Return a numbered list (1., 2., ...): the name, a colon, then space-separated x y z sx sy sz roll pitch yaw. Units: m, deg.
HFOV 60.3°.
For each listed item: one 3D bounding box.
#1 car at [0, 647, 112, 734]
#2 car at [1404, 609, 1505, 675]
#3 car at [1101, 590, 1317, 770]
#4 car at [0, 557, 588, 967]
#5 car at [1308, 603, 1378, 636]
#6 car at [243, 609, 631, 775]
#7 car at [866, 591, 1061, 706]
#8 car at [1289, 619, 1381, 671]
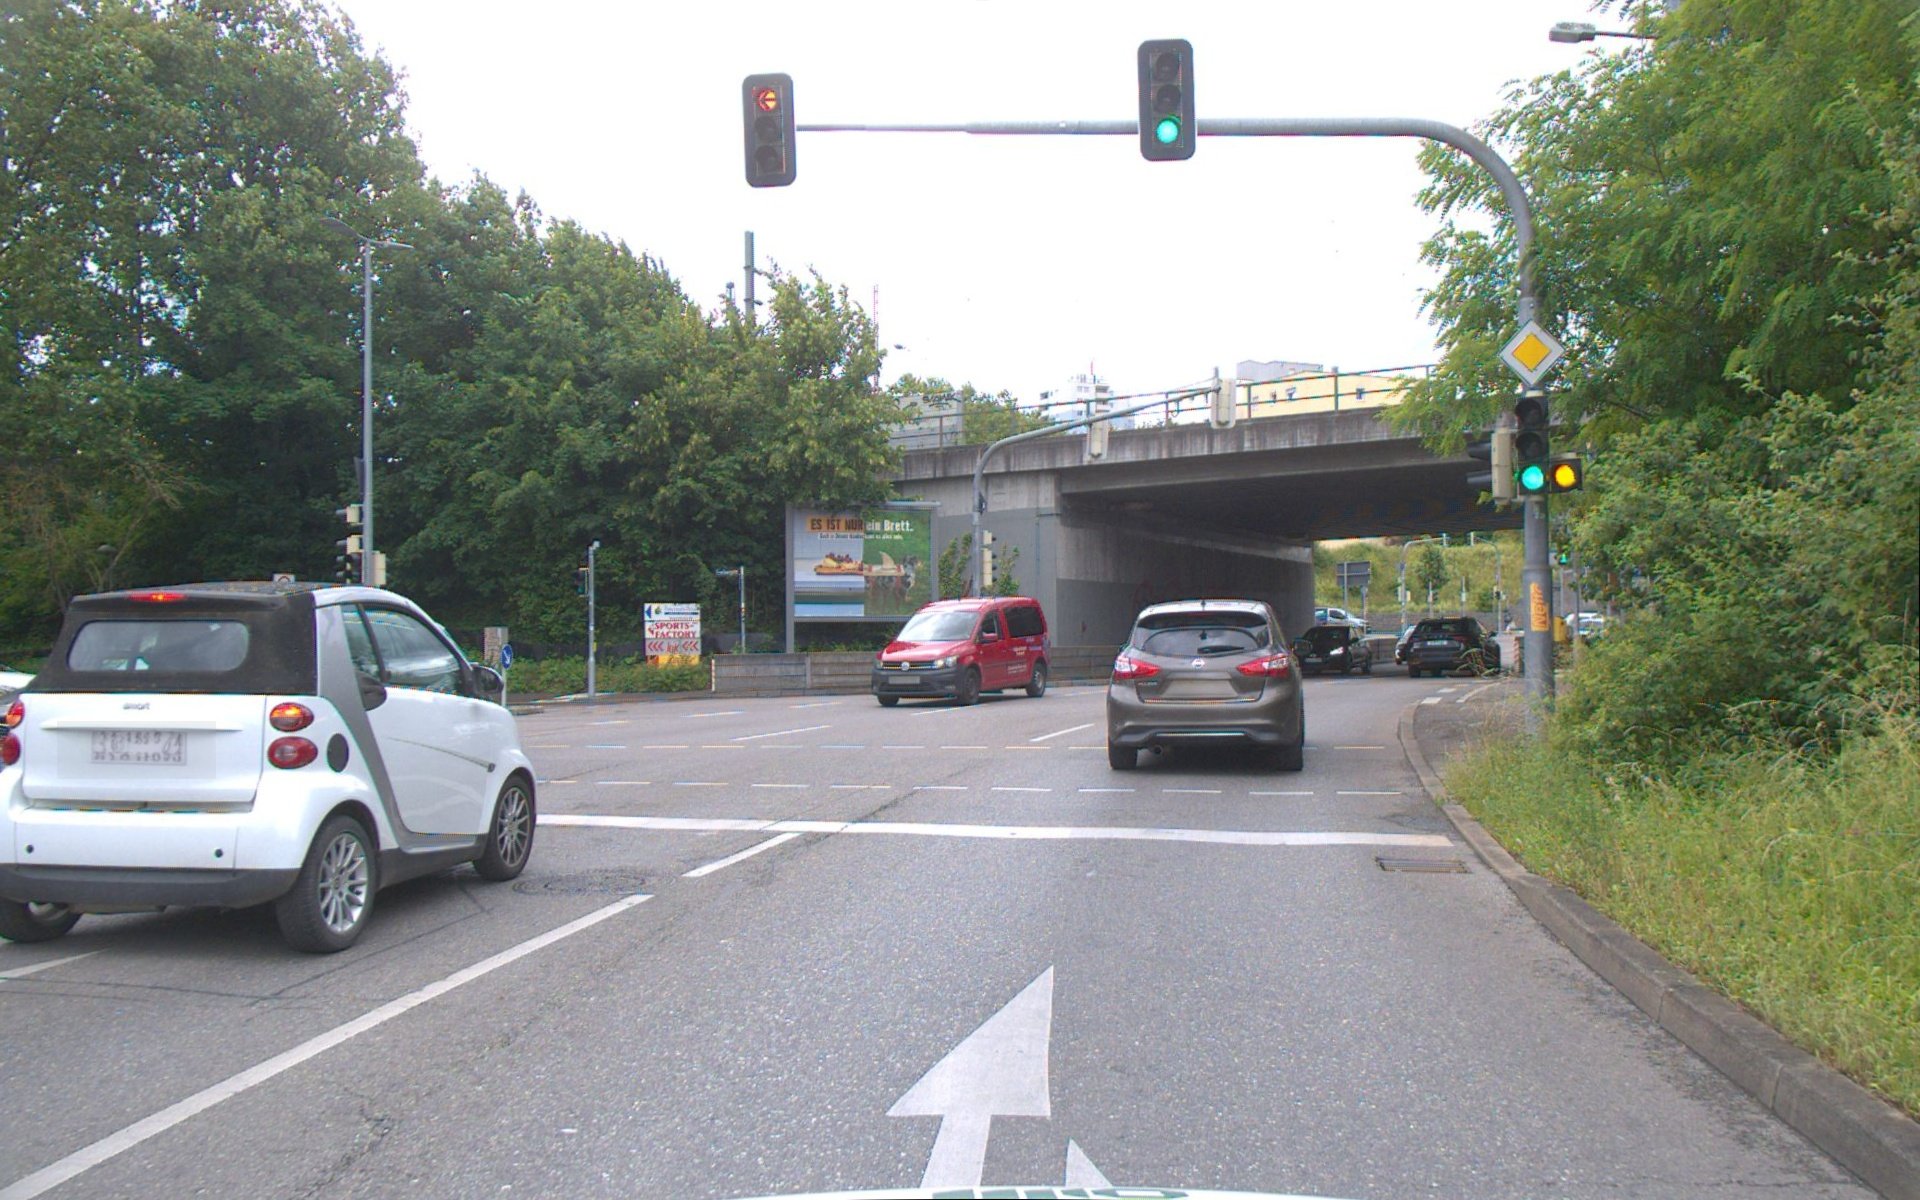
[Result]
1. car: -16.617 1.518 27.328 4.311 1.362 2.001 -1 -3 12
2. car: 12.509 1.070 41.690 1.862 1.492 3.997 3 -1 24
3. car: 2.503 0.735 16.126 1.805 1.519 4.003 -1 -2 11
4. car: -3.137 0.640 8.129 1.542 1.585 3.019 1 0 8
5. car: 24.217 1.266 104.522 3.909 1.982 1.998 -2 -2 27
6. car: -5.063 0.824 16.738 1.727 1.445 4.425 0 -1 13
7. car: 0.165 0.812 29.331 1.654 1.857 4.723 -1 -1 24
8. car: 11.488 1.354 50.486 1.781 1.503 4.132 -1 -1 27
